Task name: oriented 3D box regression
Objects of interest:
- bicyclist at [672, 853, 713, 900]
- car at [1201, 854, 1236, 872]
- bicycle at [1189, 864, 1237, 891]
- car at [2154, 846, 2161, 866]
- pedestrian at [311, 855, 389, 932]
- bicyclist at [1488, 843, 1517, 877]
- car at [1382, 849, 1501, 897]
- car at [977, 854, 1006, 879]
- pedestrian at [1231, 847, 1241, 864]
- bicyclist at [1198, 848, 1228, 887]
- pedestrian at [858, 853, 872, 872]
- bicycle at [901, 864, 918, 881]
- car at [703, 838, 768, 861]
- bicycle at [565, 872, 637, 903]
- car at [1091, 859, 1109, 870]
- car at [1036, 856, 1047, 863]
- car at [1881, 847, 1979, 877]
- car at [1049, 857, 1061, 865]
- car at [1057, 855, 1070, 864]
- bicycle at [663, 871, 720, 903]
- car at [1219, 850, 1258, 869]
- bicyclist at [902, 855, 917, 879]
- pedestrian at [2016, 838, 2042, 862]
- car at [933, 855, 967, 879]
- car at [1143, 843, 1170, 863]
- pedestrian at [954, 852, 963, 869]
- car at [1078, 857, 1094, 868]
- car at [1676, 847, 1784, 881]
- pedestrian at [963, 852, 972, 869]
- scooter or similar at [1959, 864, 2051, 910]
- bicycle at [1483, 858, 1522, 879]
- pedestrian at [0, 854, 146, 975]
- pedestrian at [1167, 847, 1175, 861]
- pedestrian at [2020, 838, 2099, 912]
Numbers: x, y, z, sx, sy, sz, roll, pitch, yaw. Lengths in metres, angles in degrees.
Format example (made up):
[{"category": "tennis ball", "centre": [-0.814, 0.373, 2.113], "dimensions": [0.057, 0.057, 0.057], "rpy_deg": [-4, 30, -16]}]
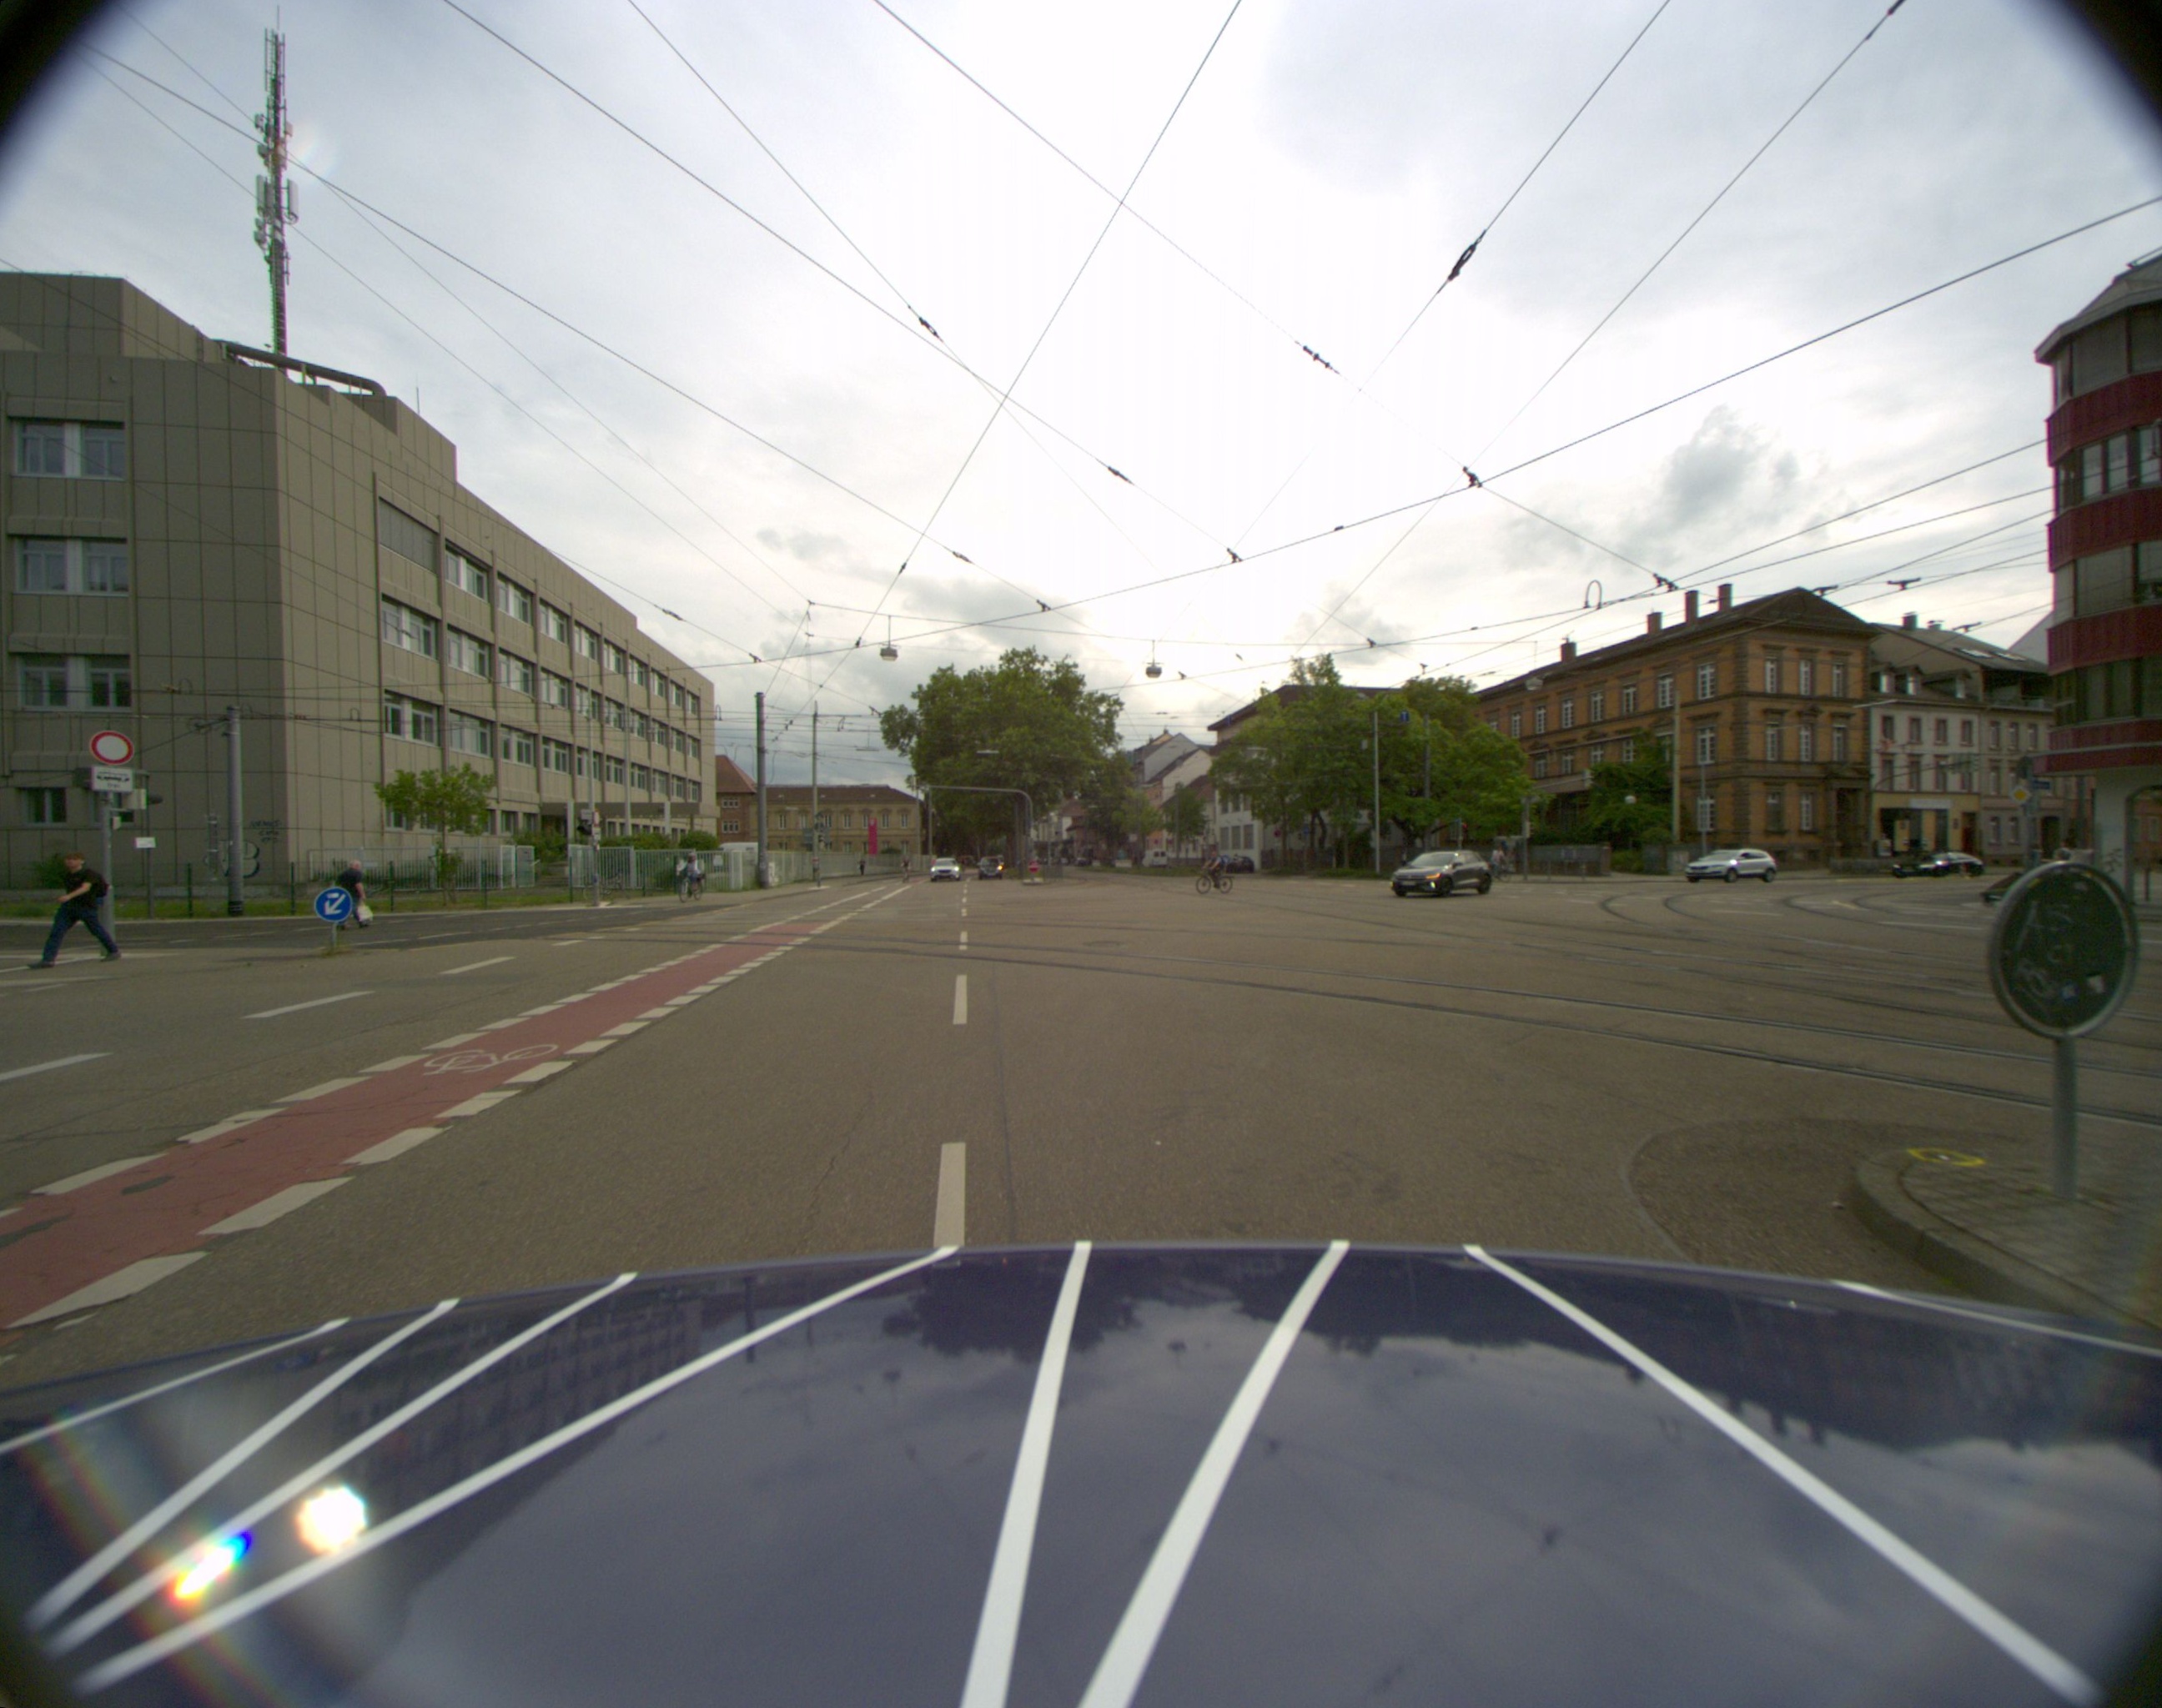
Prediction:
[{"category": "bicyclist", "centre": [-14.242, 0.808, 27.893], "dimensions": [0.802, 1.691, 1.182], "rpy_deg": [-1, 0, 5]}, {"category": "car", "centre": [12.590, 0.802, 69.699], "dimensions": [1.760, 1.527, 4.416], "rpy_deg": [-1, 0, -10]}, {"category": "bicycle", "centre": [5.254, 0.920, 30.150], "dimensions": [1.803, 1.012, 0.713], "rpy_deg": [1, 0, -27]}, {"category": "car", "centre": [79.892, 0.177, 53.639], "dimensions": [1.793, 1.464, 4.615], "rpy_deg": [-1, 2, -39]}, {"category": "pedestrian", "centre": [-17.915, 0.946, 18.648], "dimensions": [0.901, 1.845, 0.992], "rpy_deg": [-1, 1, 0]}, {"category": "bicyclist", "centre": [22.470, 0.316, 40.548], "dimensions": [0.748, 1.750, 1.251], "rpy_deg": [-1, 1, -10]}, {"category": "car", "centre": [12.516, 0.604, 26.318], "dimensions": [4.290, 1.538, 1.770], "rpy_deg": [0, 1, -34]}, {"category": "car", "centre": [-6.016, 0.808, 51.431], "dimensions": [1.836, 1.557, 4.418], "rpy_deg": [-1, 0, -5]}, {"category": "pedestrian", "centre": [15.269, 0.131, 74.785], "dimensions": [0.769, 1.641, 0.765], "rpy_deg": [-1, 1, -9]}, {"category": "bicyclist", "centre": [5.238, 0.532, 30.124], "dimensions": [0.920, 1.498, 0.714], "rpy_deg": [0, 1, -27]}, {"category": "pedestrian", "centre": [-17.954, 0.695, 63.226], "dimensions": [0.883, 1.560, 0.980], "rpy_deg": [-1, 1, -3]}, {"category": "bicycle", "centre": [-11.208, 1.190, 49.651], "dimensions": [0.803, 1.080, 2.561], "rpy_deg": [-1, 0, -6]}, {"category": "car", "centre": [-36.996, -0.507, 81.570], "dimensions": [5.901, 2.385, 2.566], "rpy_deg": [-1, 0, -13]}, {"category": "bicycle", "centre": [-18.002, 1.250, 28.546], "dimensions": [0.632, 0.975, 2.162], "rpy_deg": [0, 3, 34]}, {"category": "car", "centre": [2.995, 1.632, 121.270], "dimensions": [2.098, 1.797, 4.416], "rpy_deg": [-1, 0, -10]}, {"category": "car", "centre": [-9.990, 1.407, 192.133], "dimensions": [2.098, 1.855, 4.417], "rpy_deg": [-1, 0, -9]}, {"category": "car", "centre": [45.753, 0.433, 40.967], "dimensions": [4.050, 1.525, 1.773], "rpy_deg": [-1, -1, -13]}, {"category": "car", "centre": [-5.696, 1.502, 167.304], "dimensions": [2.098, 1.797, 4.416], "rpy_deg": [-1, 0, -10]}, {"category": "car", "centre": [-3.582, 1.046, 155.566], "dimensions": [2.098, 1.797, 4.416], "rpy_deg": [-1, 0, -10]}, {"category": "bicycle", "centre": [-14.251, 1.191, 27.865], "dimensions": [0.802, 1.080, 2.185], "rpy_deg": [-1, 0, 5]}, {"category": "car", "centre": [13.444, 0.442, 64.967], "dimensions": [1.737, 1.552, 4.416], "rpy_deg": [-1, 0, -10]}, {"category": "bicyclist", "centre": [-11.200, 0.844, 49.595], "dimensions": [0.803, 1.541, 1.328], "rpy_deg": [-1, 0, -6]}, {"category": "pedestrian", "centre": [66.328, -0.296, 53.140], "dimensions": [0.927, 1.679, 0.731], "rpy_deg": [-1, 4, -16]}, {"category": "car", "centre": [-8.544, 0.815, 49.750], "dimensions": [2.000, 1.495, 4.417], "rpy_deg": [-1, 0, -8]}, {"category": "car", "centre": [8.835, -0.110, 89.374], "dimensions": [2.098, 2.177, 4.416], "rpy_deg": [-1, 0, -10]}, {"category": "pedestrian", "centre": [-13.273, 0.733, 82.341], "dimensions": [0.836, 1.854, 1.176], "rpy_deg": [-1, 0, 0]}, {"category": "car", "centre": [0.880, 1.487, 131.782], "dimensions": [2.098, 1.797, 4.416], "rpy_deg": [-1, 0, -10]}, {"category": "car", "centre": [31.341, 0.482, 36.717], "dimensions": [4.284, 1.581, 1.773], "rpy_deg": [-1, -1, -14]}, {"category": "pedestrian", "centre": [-12.349, 0.687, 82.594], "dimensions": [0.836, 1.854, 1.251], "rpy_deg": [-1, 0, 0]}, {"category": "scooter or similar", "centre": [23.261, 0.815, 19.146], "dimensions": [0.947, 1.122, 1.198], "rpy_deg": [0, -1, -17]}, {"category": "bicycle", "centre": [22.475, 0.755, 40.527], "dimensions": [0.751, 1.080, 2.014], "rpy_deg": [-1, 0, -9]}, {"category": "pedestrian", "centre": [-16.509, 0.953, 12.480], "dimensions": [0.901, 1.887, 1.089], "rpy_deg": [-1, 1, -5]}, {"category": "pedestrian", "centre": [11.388, 0.011, 96.431], "dimensions": [0.769, 1.771, 0.765], "rpy_deg": [-1, 1, -9]}, {"category": "pedestrian", "centre": [23.539, 0.487, 18.298], "dimensions": [0.813, 1.733, 0.949], "rpy_deg": [-1, 0, -18]}]
